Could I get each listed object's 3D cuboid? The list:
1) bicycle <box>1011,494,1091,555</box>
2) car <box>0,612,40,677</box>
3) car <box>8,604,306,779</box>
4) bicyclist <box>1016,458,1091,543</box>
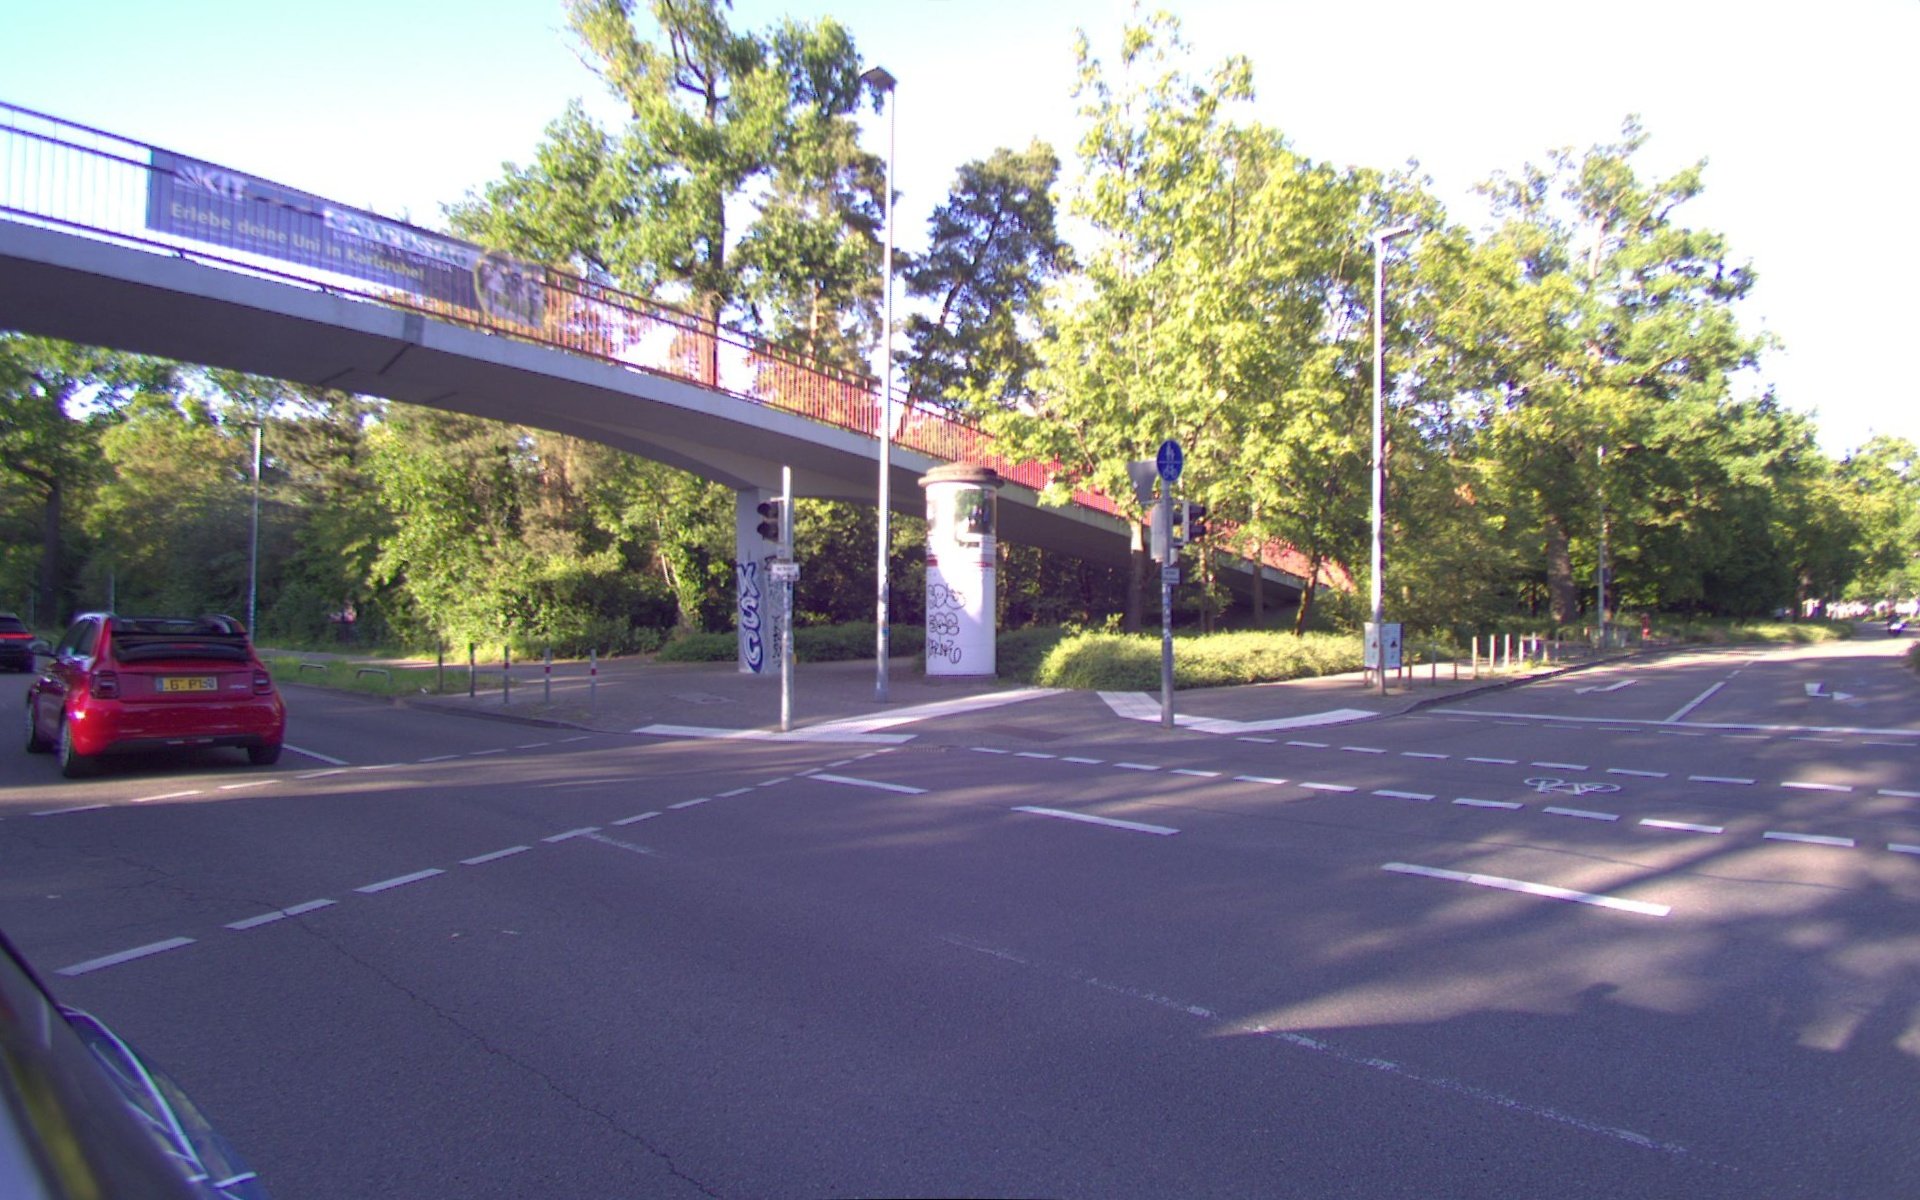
[{"bbox_3d":[2.780,-2.243,30.538,1.052,1.383,2.413,0,-6,44],"label":"bicycle"},{"bbox_3d":[-24.680,1.075,25.329,4.645,1.517,1.940,0,-1,42],"label":"car"},{"bbox_3d":[-8.283,0.824,10.338,3.638,1.467,1.732,-1,-3,42],"label":"car"},{"bbox_3d":[2.817,-2.950,30.487,1.412,2.185,1.660,0,-6,43],"label":"bicyclist"}]
